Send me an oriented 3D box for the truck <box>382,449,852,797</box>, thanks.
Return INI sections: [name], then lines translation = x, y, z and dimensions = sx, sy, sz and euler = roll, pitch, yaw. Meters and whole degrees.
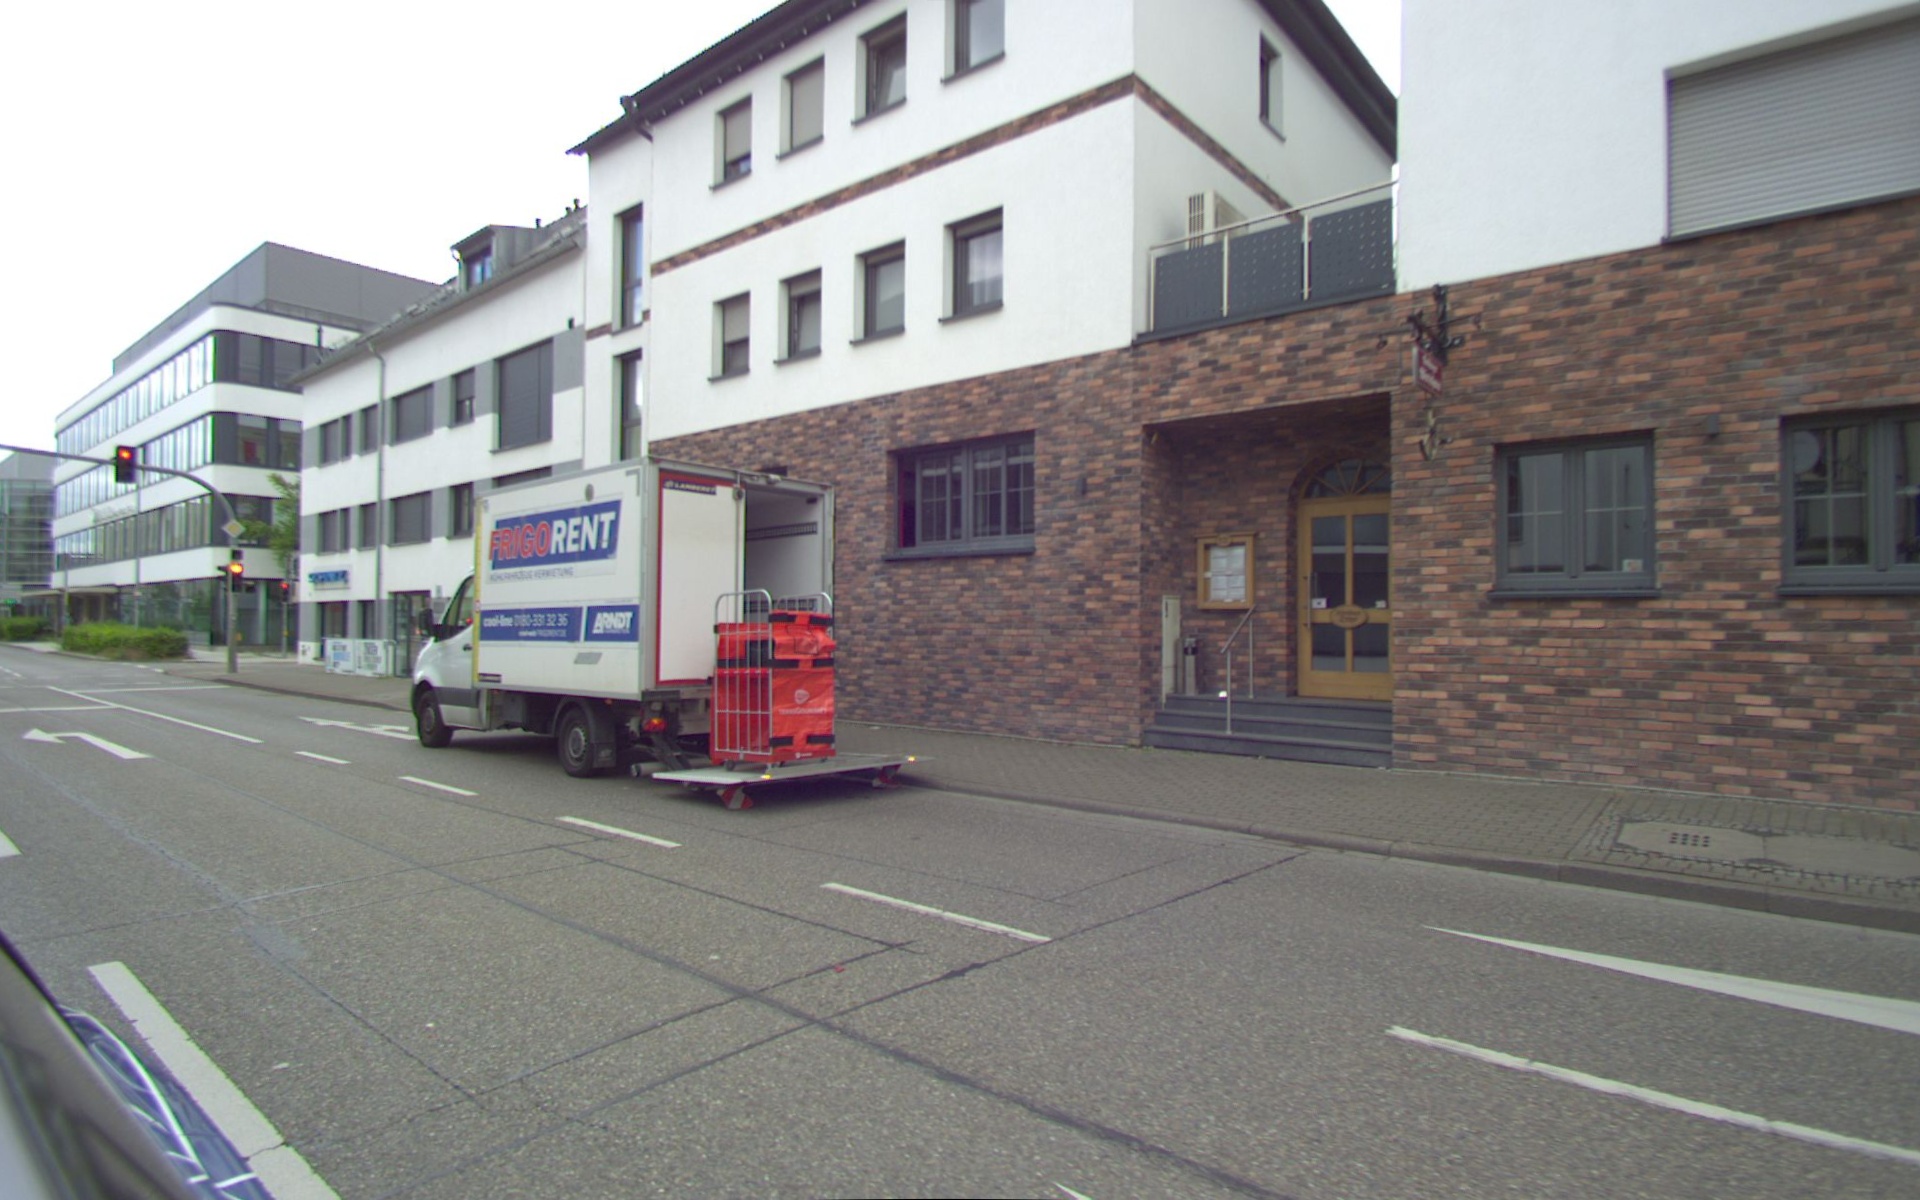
[truck]
translation = -4.170, 0.246, 11.593
dimensions = 5.961, 2.993, 2.437
euler = -1, -1, 41
